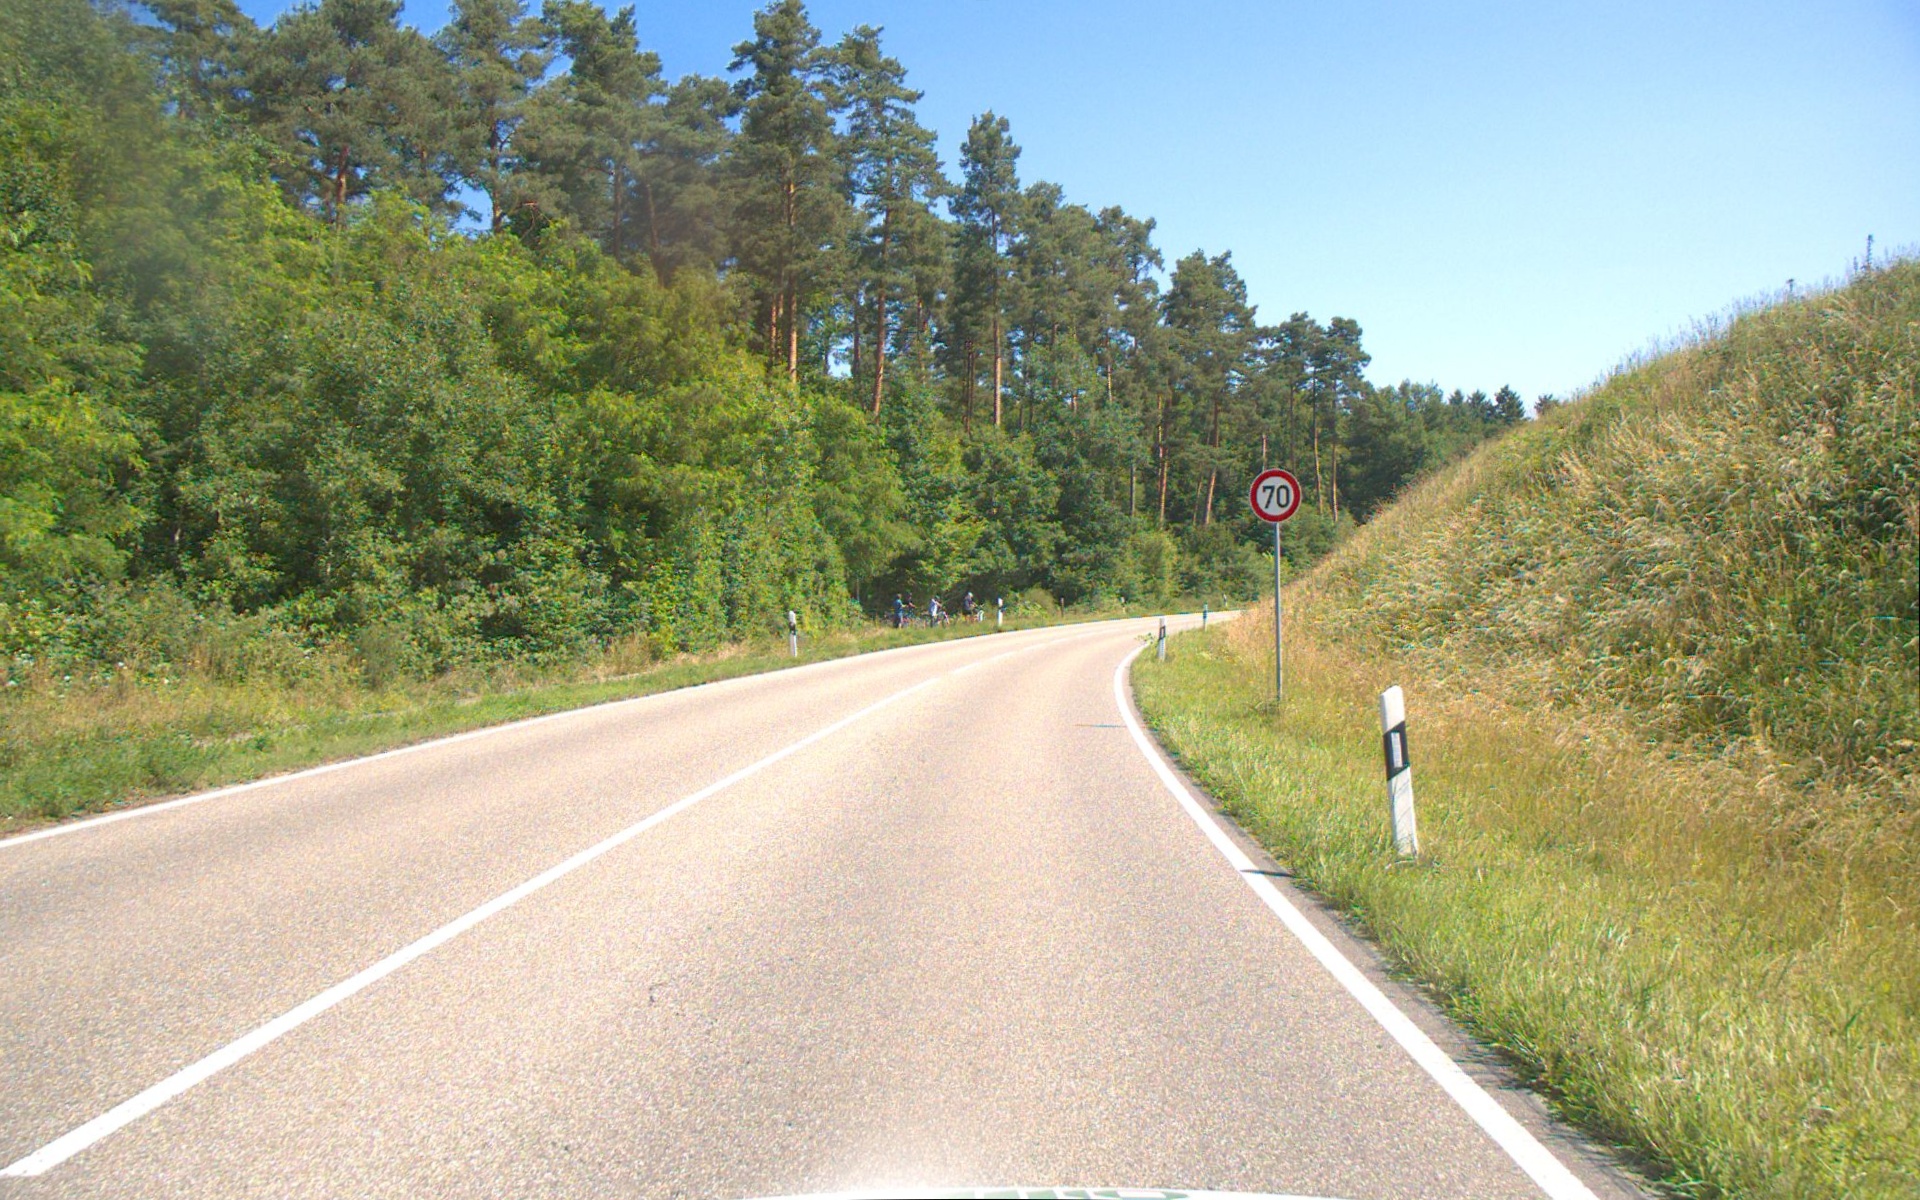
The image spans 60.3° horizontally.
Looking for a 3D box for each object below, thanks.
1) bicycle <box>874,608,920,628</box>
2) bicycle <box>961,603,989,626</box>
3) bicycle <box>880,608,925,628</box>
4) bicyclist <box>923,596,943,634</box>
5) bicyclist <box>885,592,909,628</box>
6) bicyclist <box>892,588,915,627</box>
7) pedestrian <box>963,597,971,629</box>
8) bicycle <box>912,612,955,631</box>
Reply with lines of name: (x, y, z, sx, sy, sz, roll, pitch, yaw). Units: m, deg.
bicycle: (-2.750, 0.791, 72.421, 1.958, 0.844, 0.600, 1, -1, -31)
bicycle: (0.750, 0.707, 81.739, 0.572, 1.105, 1.437, 2, 2, 44)
bicycle: (-2.557, 0.797, 73.469, 1.958, 0.844, 0.600, 1, -1, -31)
bicyclist: (-1.254, 0.694, 77.190, 0.776, 1.749, 0.601, 1, -1, -24)
bicyclist: (-2.746, 0.430, 72.433, 0.860, 1.572, 0.600, 1, -1, -31)
bicyclist: (-2.526, 0.346, 73.491, 0.839, 1.730, 0.600, 1, -1, -31)
pedestrian: (0.353, 0.658, 81.688, 0.277, 1.565, 0.391, -1, 0, 11)
bicycle: (-1.238, 1.017, 77.203, 1.952, 0.844, 0.601, 1, -1, -24)
